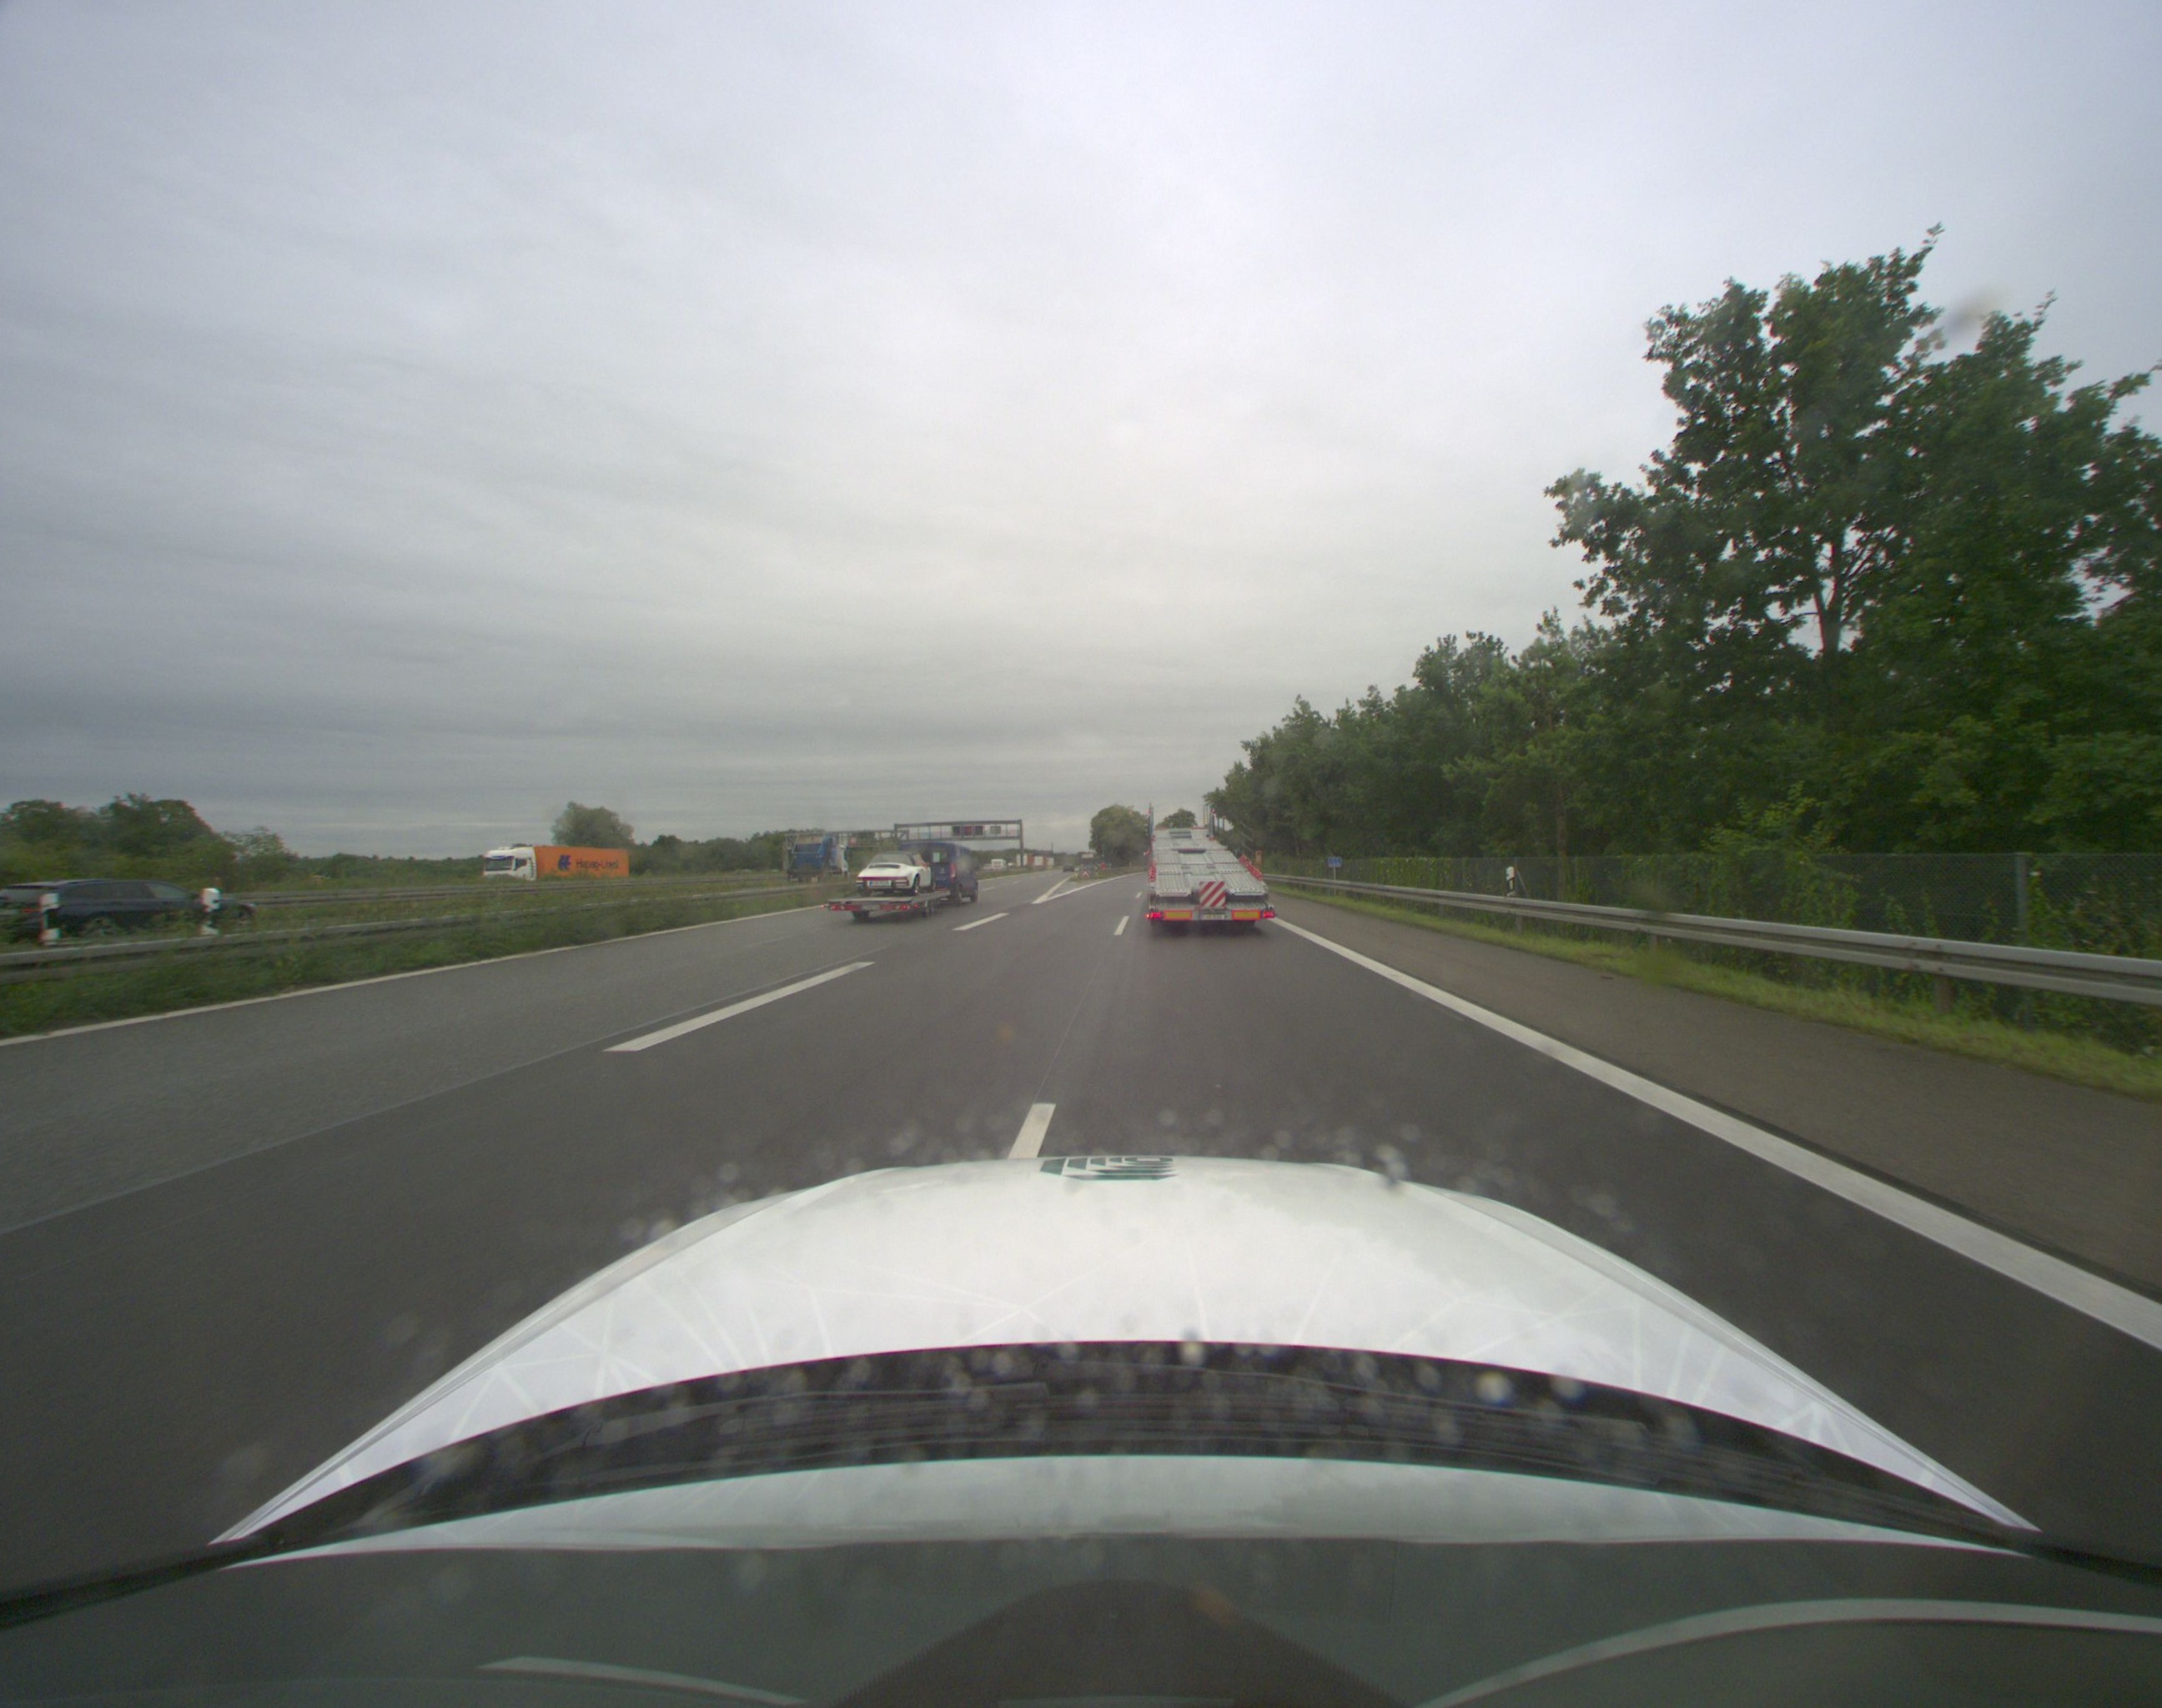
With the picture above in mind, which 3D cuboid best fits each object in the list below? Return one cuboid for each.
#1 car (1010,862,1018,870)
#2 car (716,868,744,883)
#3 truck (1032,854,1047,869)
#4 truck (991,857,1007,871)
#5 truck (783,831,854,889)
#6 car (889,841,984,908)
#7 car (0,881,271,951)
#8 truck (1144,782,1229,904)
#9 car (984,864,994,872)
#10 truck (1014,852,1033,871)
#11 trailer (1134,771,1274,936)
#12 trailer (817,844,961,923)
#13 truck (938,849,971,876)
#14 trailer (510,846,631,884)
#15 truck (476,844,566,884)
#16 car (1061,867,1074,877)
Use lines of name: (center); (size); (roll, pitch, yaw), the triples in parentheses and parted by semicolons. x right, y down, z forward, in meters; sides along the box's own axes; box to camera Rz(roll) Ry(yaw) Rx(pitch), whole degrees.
car: (-17.865, 3.197, 216.113); (1.723, 2.014, 4.000); (0, -1, 1)
car: (-48.261, 2.936, 112.058); (2.016, 1.908, 3.999); (-1, -1, 0)
truck: (-12.350, 2.251, 245.179); (3.719, 4.417, 11.899); (0, -1, 1)
truck: (-15.346, 1.870, 152.542); (2.235, 2.704, 5.280); (0, -1, 1)
truck: (-18.183, 0.457, 56.866); (2.630, 3.813, 7.339); (0, -1, -1)
car: (-5.296, 0.747, 30.832); (2.364, 2.266, 6.257); (0, -1, 1)
car: (-22.410, 1.358, 19.213); (1.798, 1.391, 4.773); (0, -1, 0)
truck: (3.859, -0.351, 31.235); (2.725, 3.968, 9.141); (1, 0, 5)
car: (-18.884, 2.881, 167.853); (1.678, 1.530, 3.998); (0, -1, -1)
truck: (-13.956, 1.846, 197.467); (3.720, 4.417, 10.197); (0, -1, 1)
trailer: (2.964, 0.036, 21.478); (2.764, 3.285, 10.423); (0, 0, 6)
trailer: (-5.396, 0.789, 24.180); (2.476, 1.994, 7.064); (0, -1, 1)
truck: (-16.673, 1.111, 108.162); (2.846, 3.365, 8.632); (-1, -1, 1)
trailer: (-45.062, 0.981, 72.617); (2.675, 3.074, 12.567); (0, -1, 1)
truck: (-45.145, 0.854, 65.938); (2.675, 3.074, 6.455); (0, -1, 1)
car: (-2.211, 2.994, 136.138); (1.954, 1.637, 5.626); (0, -1, 1)
